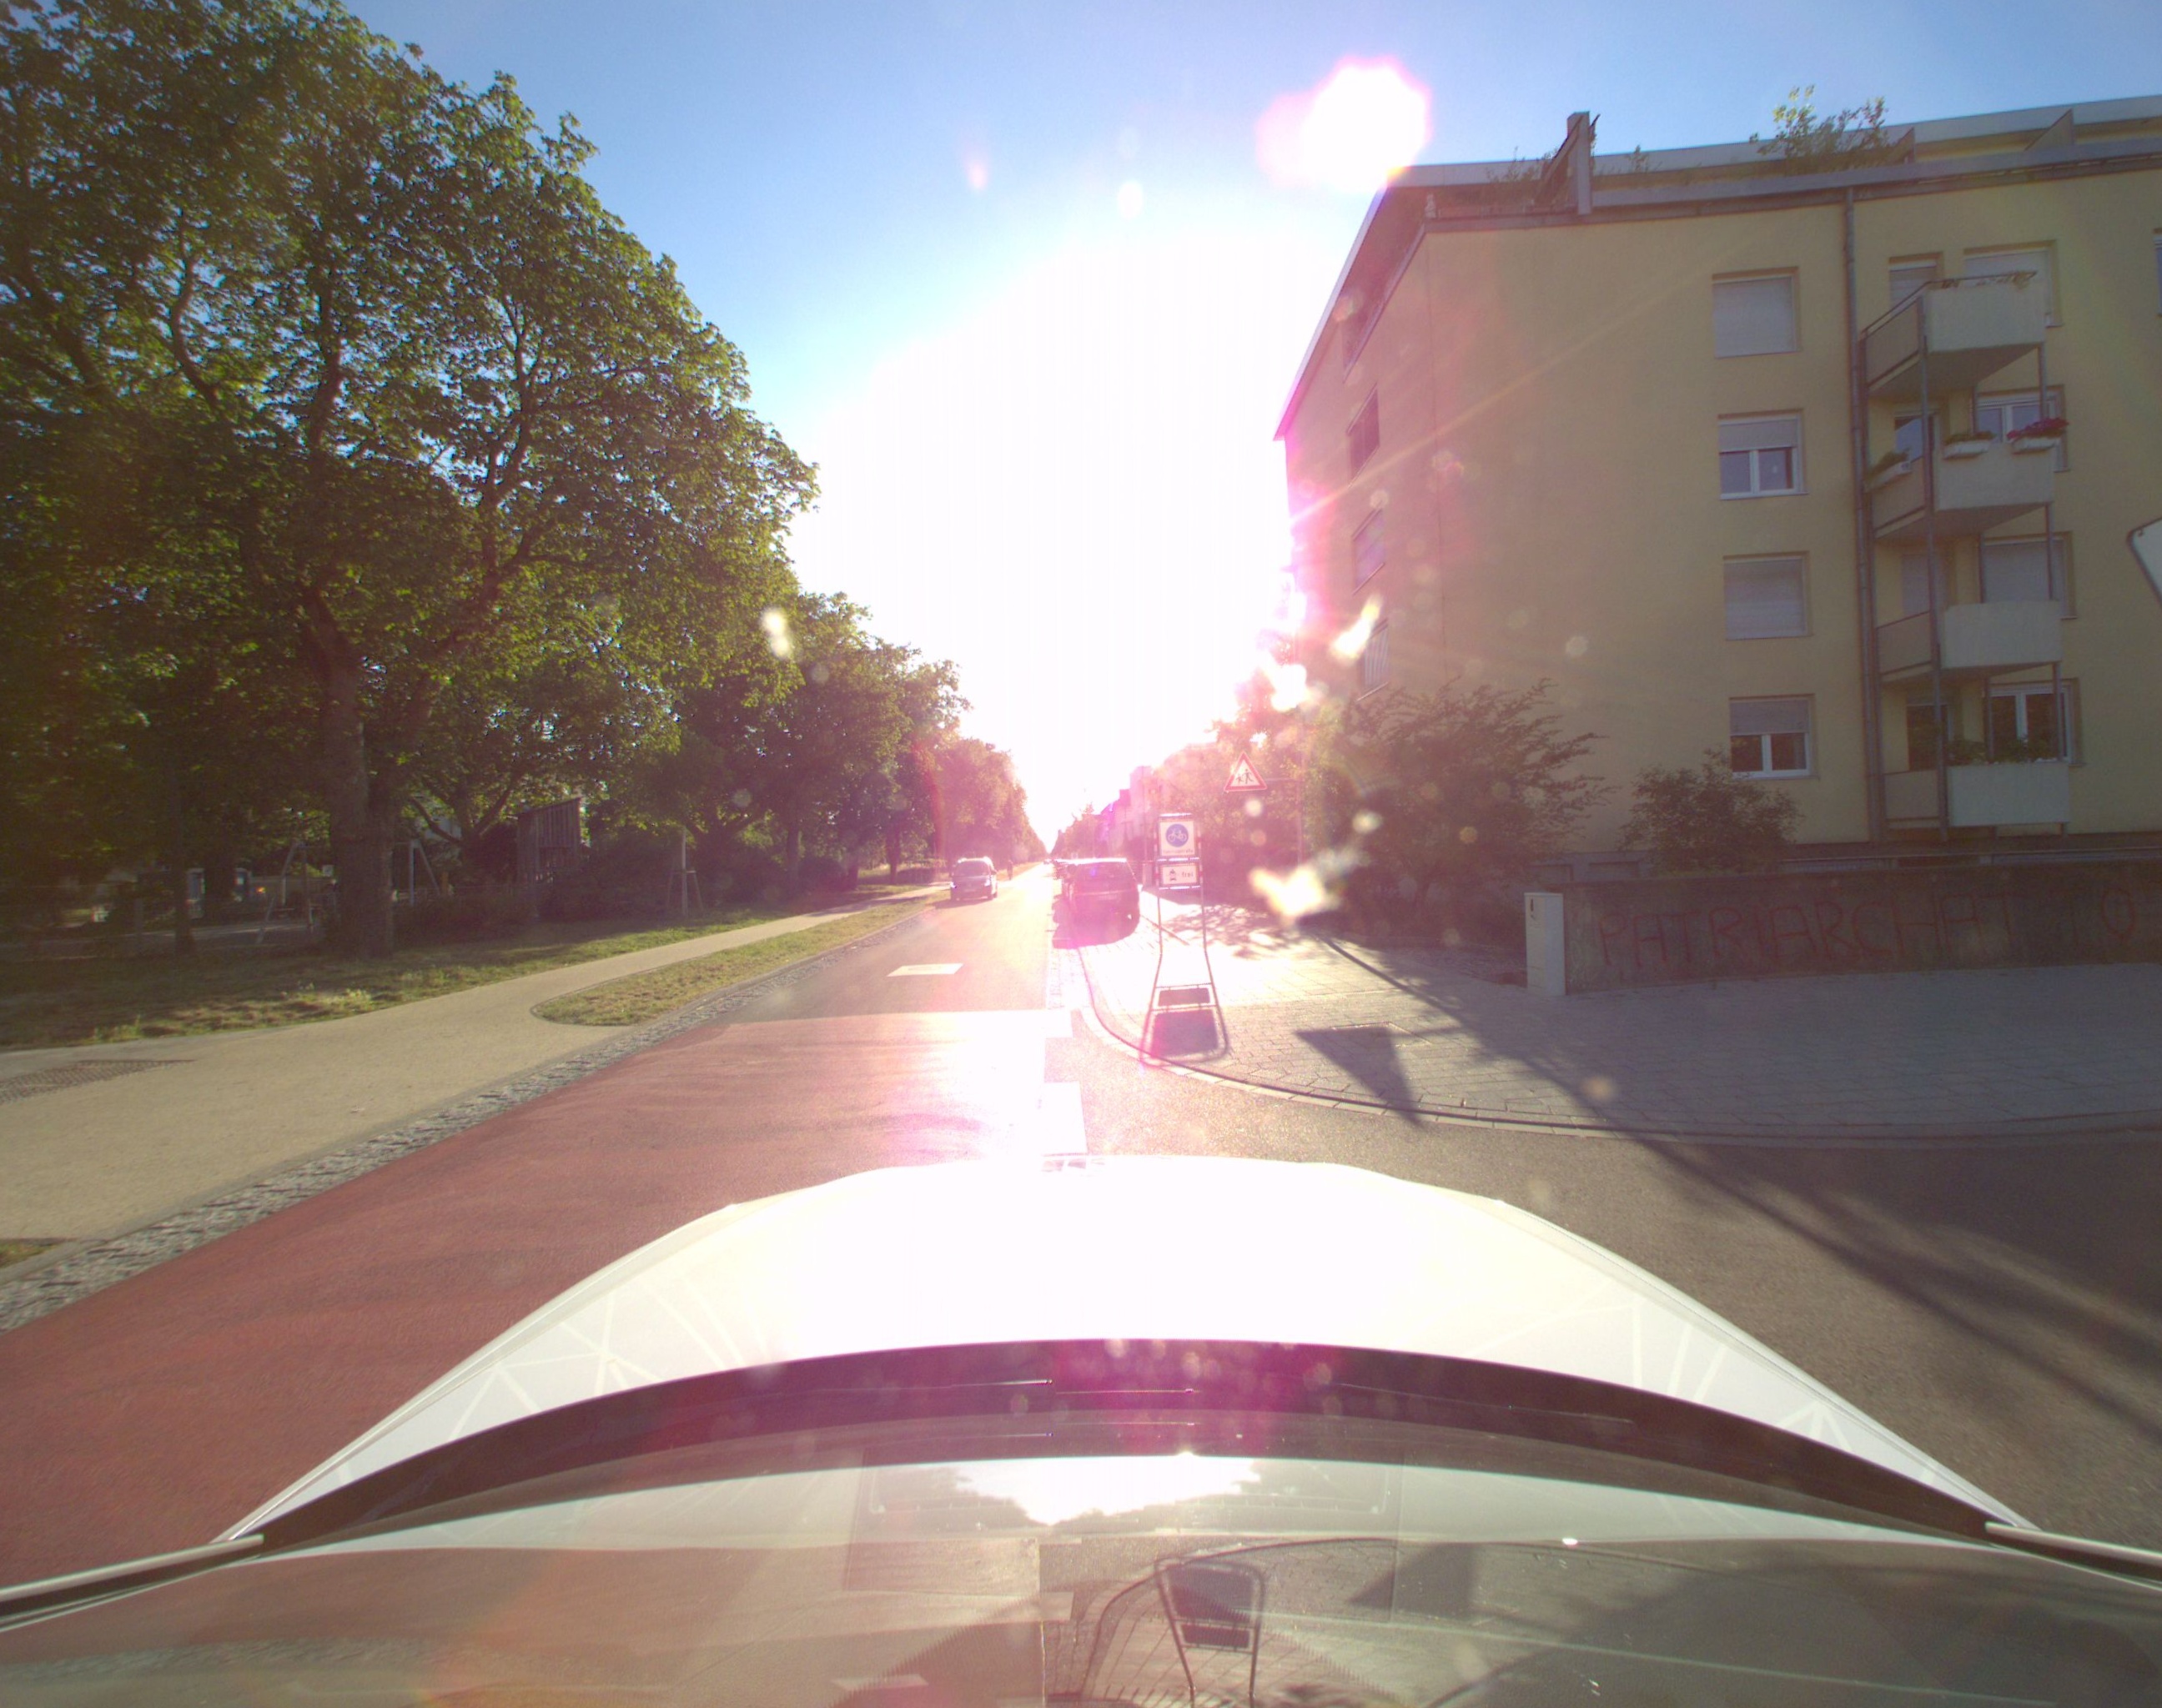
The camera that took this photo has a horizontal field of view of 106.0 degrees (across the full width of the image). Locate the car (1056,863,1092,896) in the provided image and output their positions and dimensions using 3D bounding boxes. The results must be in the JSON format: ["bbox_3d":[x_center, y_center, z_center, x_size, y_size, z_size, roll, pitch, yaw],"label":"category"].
[{"bbox_3d":[-0.377,1.201,39.587,1.559,1.390,4.371,-3,-1,-2],"label":"car"}]

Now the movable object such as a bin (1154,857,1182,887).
[{"bbox_3d":[4.295,0.889,40.180,1.233,1.432,1.123,-1,-1,-1],"label":"movable object such as a bin"}]

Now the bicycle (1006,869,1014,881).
[{"bbox_3d":[-6.098,1.790,70.233,0.555,1.032,1.913,-3,-1,-3],"label":"bicycle"}]

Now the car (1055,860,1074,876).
[{"bbox_3d":[-1.810,1.472,87.180,1.741,1.474,3.917,-5,0,-3],"label":"car"}]

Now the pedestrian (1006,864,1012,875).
[{"bbox_3d":[-11.164,2.411,126.751,0.780,1.614,0.952,-2,-1,1],"label":"pedestrian"}]

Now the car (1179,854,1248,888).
[{"bbox_3d":[7.001,0.901,43.343,3.476,1.642,1.645,-2,-1,5],"label":"car"}]

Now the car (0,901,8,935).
[{"bbox_3d":[-44.653,2.606,31.421,1.517,1.367,3.750,-1,0,-1],"label":"car"}]

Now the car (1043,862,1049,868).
[{"bbox_3d":[-10.070,3.132,235.973,1.648,1.541,3.263,-1,-1,-2],"label":"car"}]

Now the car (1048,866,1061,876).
[{"bbox_3d":[-4.038,2.553,123.436,1.733,1.449,4.191,-3,-1,-3],"label":"car"}]

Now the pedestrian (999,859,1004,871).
[{"bbox_3d":[-12.351,1.757,126.589,0.622,1.831,0.886,-2,-1,1],"label":"pedestrian"}]

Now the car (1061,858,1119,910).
[{"bbox_3d":[0.241,0.970,27.928,1.675,1.555,4.140,-3,-1,-3],"label":"car"}]

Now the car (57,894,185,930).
[{"bbox_3d":[-44.461,2.661,37.858,1.517,1.367,3.750,-1,0,-1],"label":"car"}]

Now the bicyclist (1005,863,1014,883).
[{"bbox_3d":[-6.147,1.655,70.095,0.680,1.673,1.171,-3,-2,-3],"label":"bicyclist"}]

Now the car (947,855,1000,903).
[{"bbox_3d":[-4.636,1.080,35.697,1.840,1.847,4.567,-3,-1,-3],"label":"car"}]

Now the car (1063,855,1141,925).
[{"bbox_3d":[0.466,0.911,22.221,1.706,1.611,4.163,-4,0,-3],"label":"car"}]

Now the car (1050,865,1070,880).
[{"bbox_3d":[-1.950,1.729,75.765,1.770,1.288,4.269,-1,0,-2],"label":"car"}]

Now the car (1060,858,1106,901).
[{"bbox_3d":[0.046,1.018,33.469,1.674,1.555,4.128,-3,-1,-1],"label":"car"}]
